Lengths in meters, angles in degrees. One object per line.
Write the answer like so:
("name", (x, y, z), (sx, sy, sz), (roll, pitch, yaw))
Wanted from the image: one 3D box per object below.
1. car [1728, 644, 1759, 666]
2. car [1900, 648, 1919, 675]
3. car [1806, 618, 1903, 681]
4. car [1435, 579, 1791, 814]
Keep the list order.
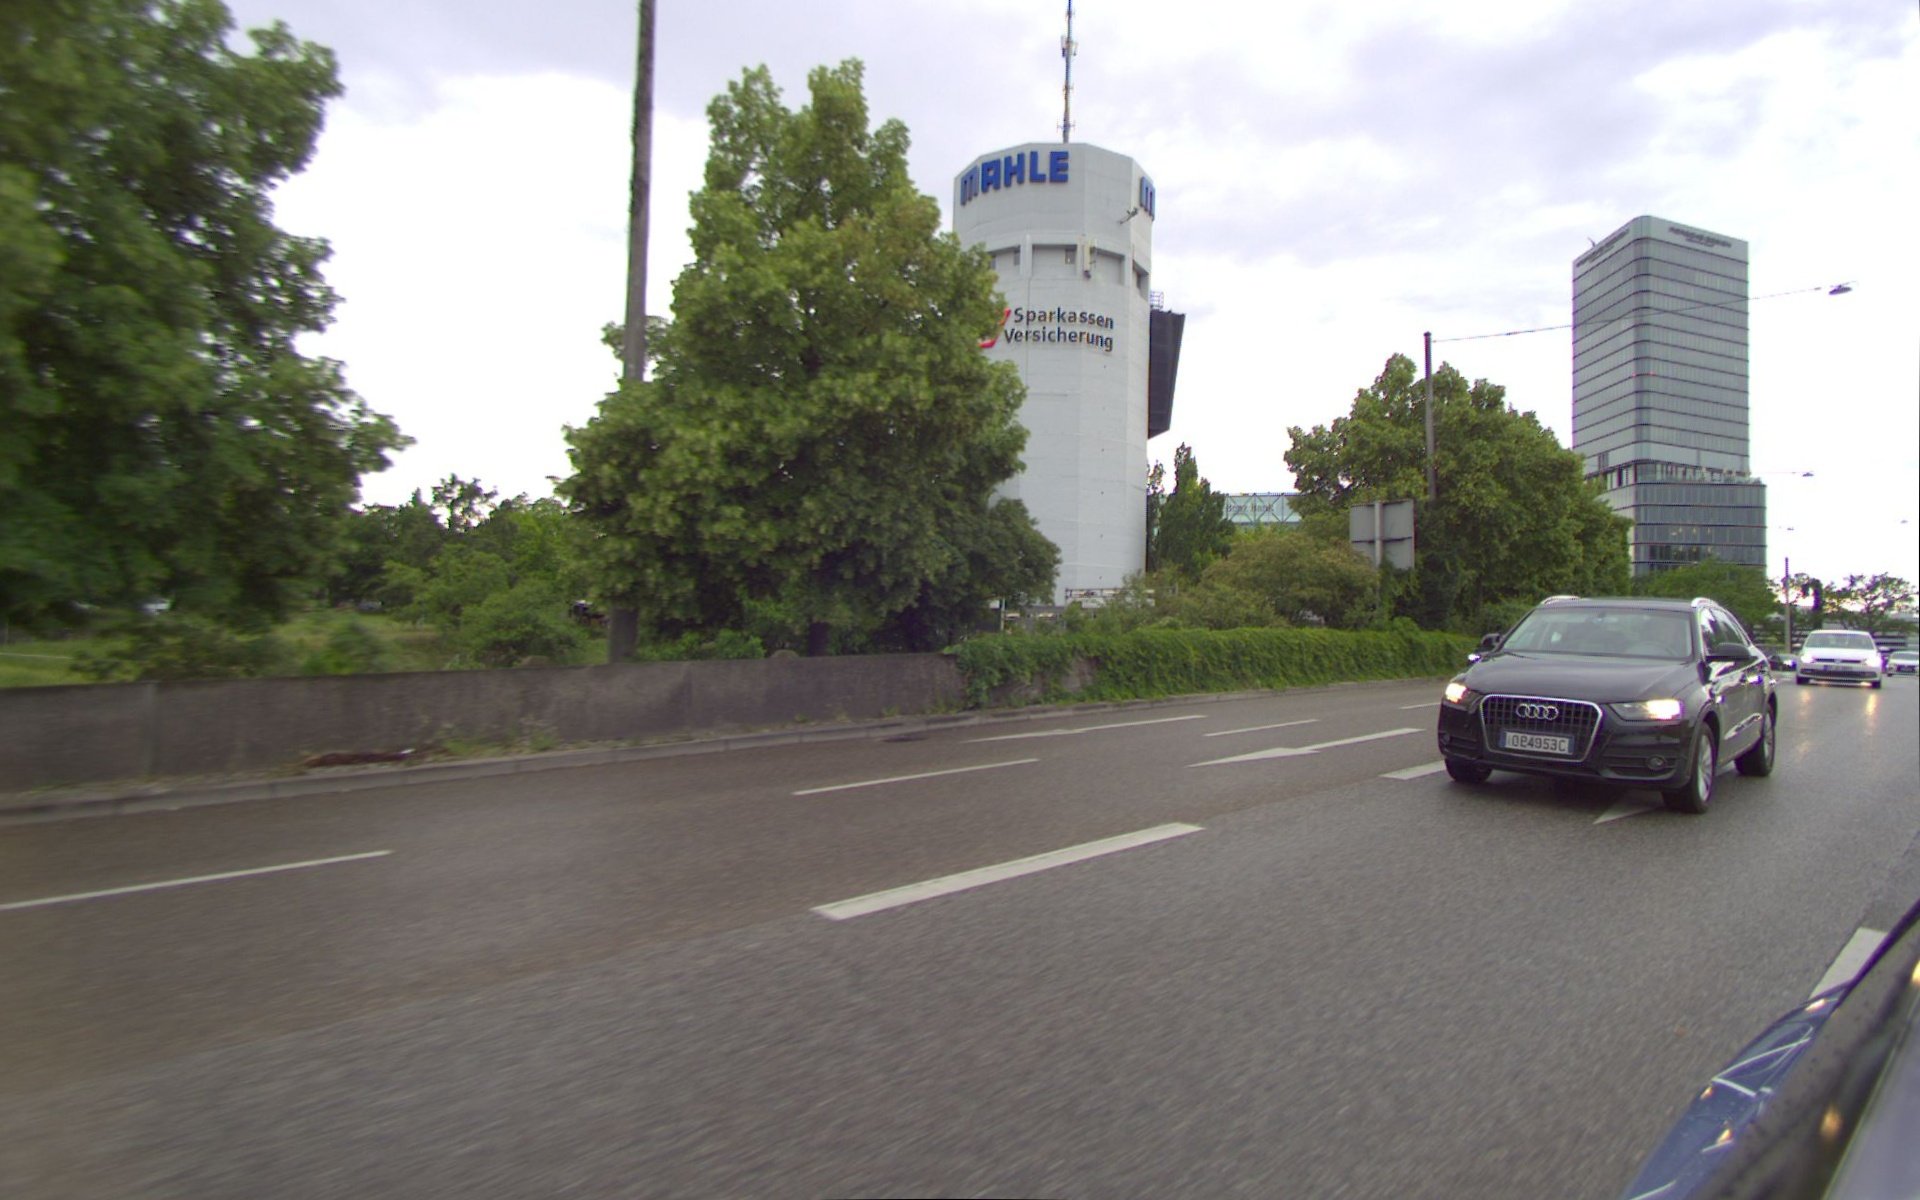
("car", (57.102, 4.010, 73.709), (1.629, 1.495, 3.622), (0, -3, 40))
("car", (55.018, 3.538, 58.048), (1.538, 1.448, 3.746), (-1, -3, 43))
("car", (23.261, 1.294, 26.289), (1.724, 1.492, 4.196), (-2, -4, 43))
("car", (5.788, 0.655, 8.751), (4.059, 1.553, 1.726), (0, -1, -45))
